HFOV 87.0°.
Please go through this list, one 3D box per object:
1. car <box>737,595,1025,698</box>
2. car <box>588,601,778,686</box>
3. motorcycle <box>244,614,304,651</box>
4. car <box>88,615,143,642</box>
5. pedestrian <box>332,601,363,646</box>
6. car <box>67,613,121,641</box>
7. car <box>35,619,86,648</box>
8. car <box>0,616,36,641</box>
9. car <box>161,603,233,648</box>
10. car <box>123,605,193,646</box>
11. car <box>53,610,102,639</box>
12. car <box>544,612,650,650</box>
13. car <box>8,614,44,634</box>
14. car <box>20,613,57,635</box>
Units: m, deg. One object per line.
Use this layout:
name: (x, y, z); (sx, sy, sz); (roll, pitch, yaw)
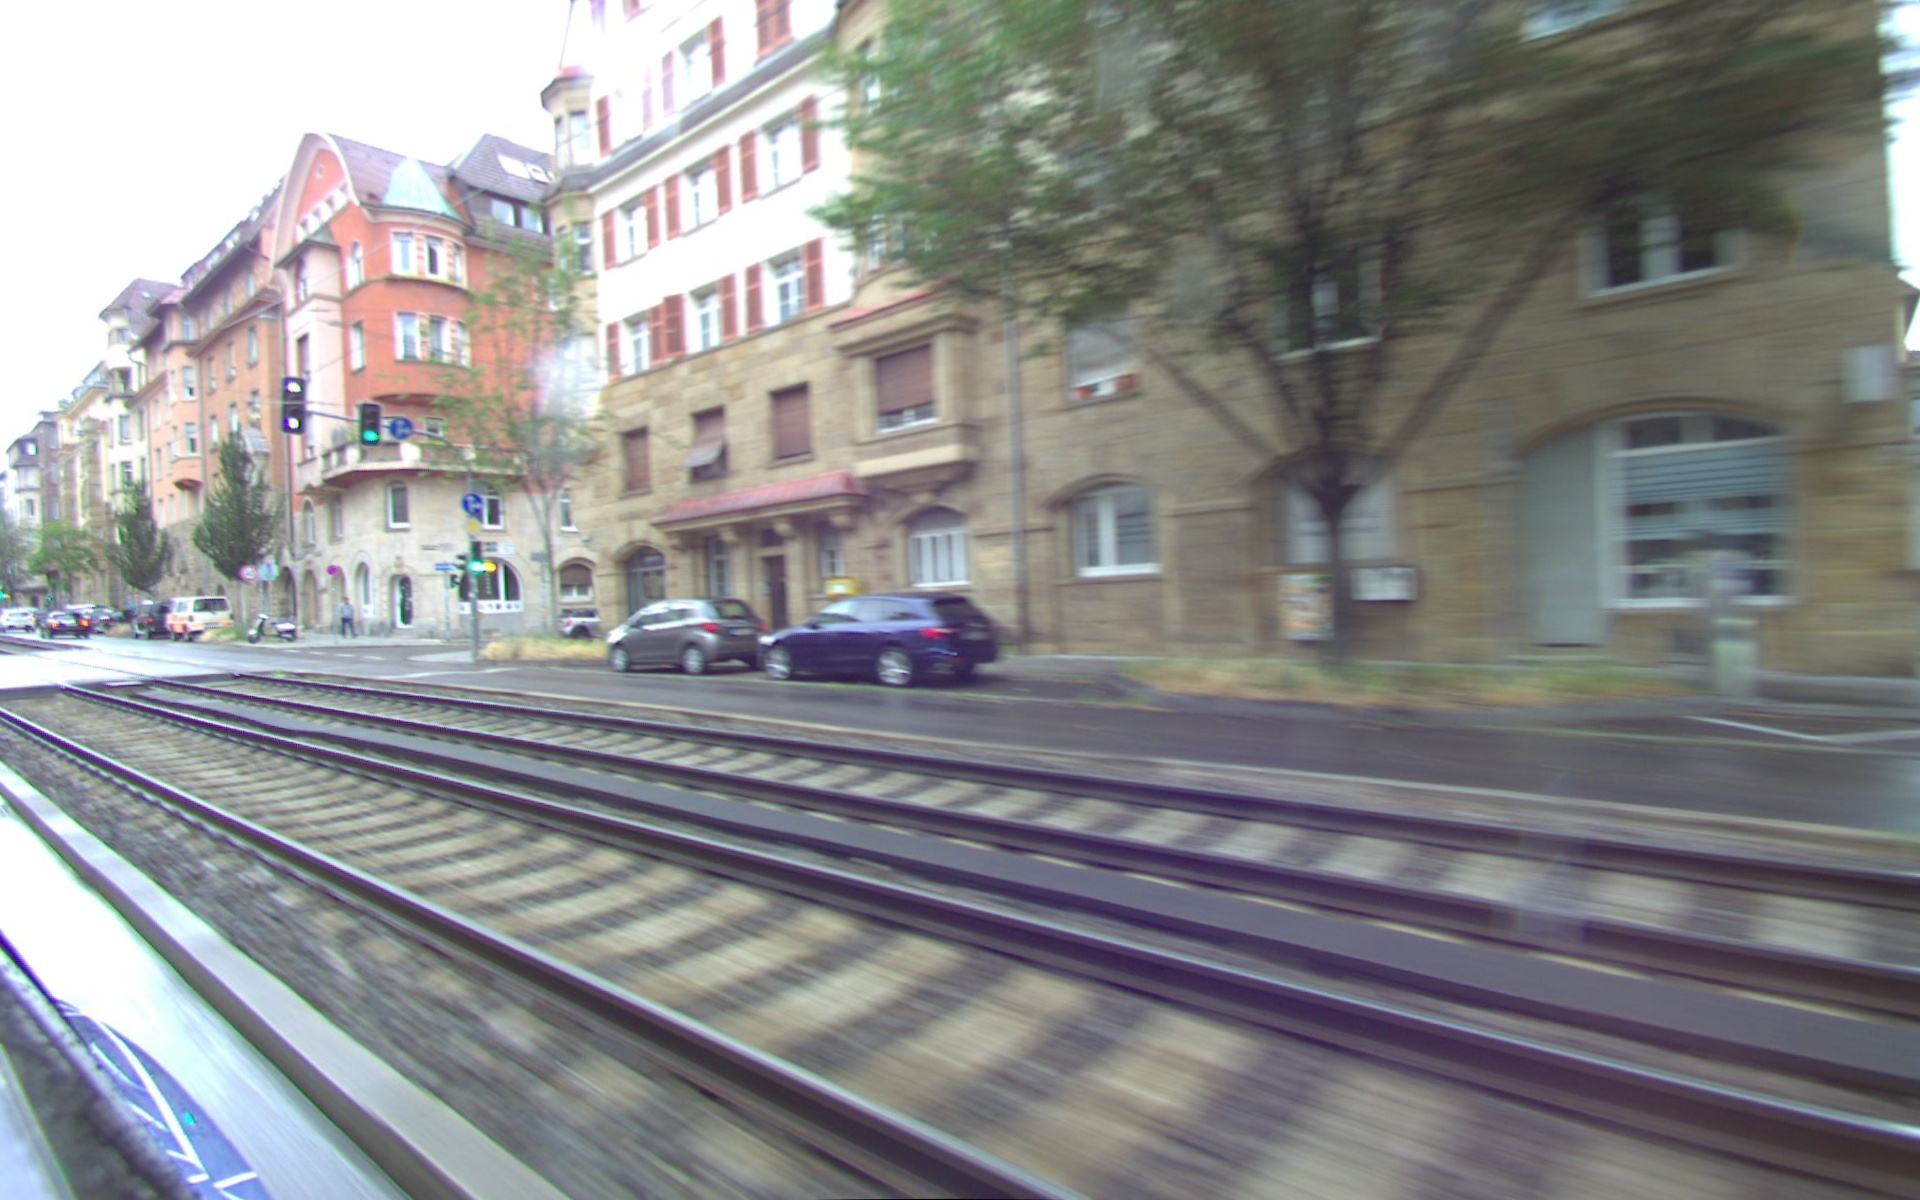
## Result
car: (-1.448, 0.670, 16.797); (4.974, 1.471, 1.763); (0, 0, 40)
car: (-5.720, 0.814, 20.638); (4.172, 1.541, 1.673); (0, 0, 40)
motorcycle: (-26.687, 1.253, 39.401); (1.754, 1.385, 0.770); (-1, 0, -17)
car: (-49.318, 1.617, 59.094); (3.691, 1.414, 1.738); (0, 2, 39)
pedestrian: (-25.228, 0.955, 41.679); (0.892, 1.731, 0.710); (0, 6, 42)
car: (-53.286, 1.635, 62.230); (4.594, 1.502, 1.738); (0, 2, 40)
car: (-48.316, 1.775, 54.342); (3.733, 1.474, 1.636); (-1, -1, 41)
car: (-61.824, 1.847, 65.990); (4.059, 1.514, 1.763); (0, 0, 40)
car: (-34.922, 1.135, 46.279); (4.473, 1.945, 1.711); (0, 0, 40)
car: (-40.436, 1.249, 50.994); (4.830, 1.945, 1.886); (0, 0, 41)
car: (-57.538, 1.582, 65.973); (4.257, 1.684, 1.737); (0, 3, 41)
car: (-15.554, 1.289, 43.491); (1.746, 1.478, 3.945); (0, 0, 41)
car: (-76.029, 1.932, 82.362); (4.043, 1.462, 1.736); (0, 3, 43)
car: (-71.425, 1.843, 78.424); (3.712, 1.493, 1.695); (0, 3, 43)
